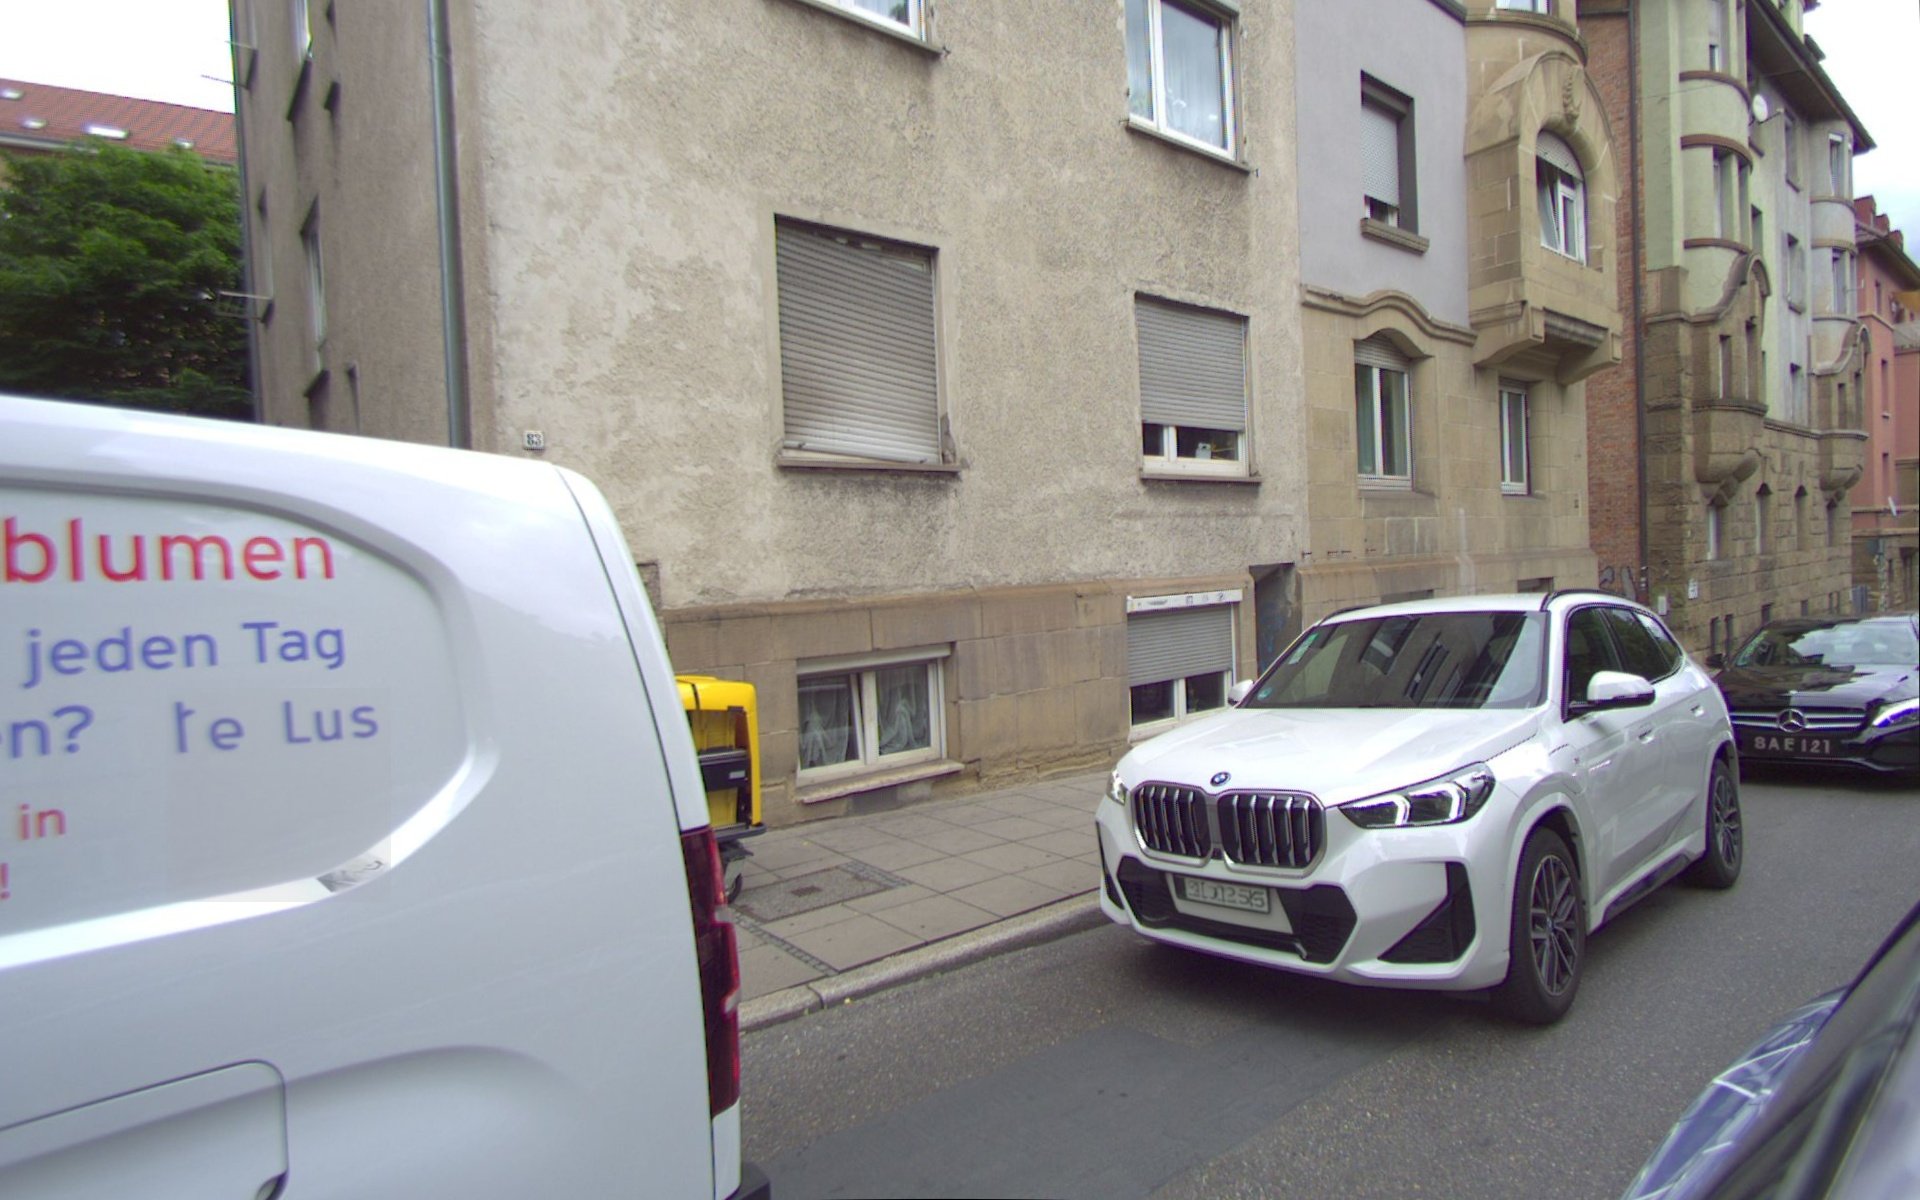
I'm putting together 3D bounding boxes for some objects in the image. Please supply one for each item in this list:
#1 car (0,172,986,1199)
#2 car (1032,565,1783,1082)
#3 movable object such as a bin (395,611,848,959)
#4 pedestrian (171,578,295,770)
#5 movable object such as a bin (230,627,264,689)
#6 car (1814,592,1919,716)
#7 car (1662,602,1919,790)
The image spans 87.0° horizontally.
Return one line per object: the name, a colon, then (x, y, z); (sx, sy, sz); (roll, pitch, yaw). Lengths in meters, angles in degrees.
car: (-2.325, 0.560, 0.913); (4.597, 1.798, 1.977); (-1, -3, -42)
car: (2.568, 0.722, 5.240); (4.276, 1.576, 1.857); (-1, -4, -42)
movable object such as a bin: (-1.758, 0.795, 5.396); (1.979, 1.391, 1.223); (-1, 2, -43)
pedestrian: (-6.929, 0.654, 9.649); (0.771, 1.666, 0.810); (-7, 5, -39)
movable object such as a bin: (-10.988, 0.886, 15.590); (0.405, 0.923, 0.340); (0, 0, -40)
car: (13.521, 0.646, 13.898); (4.226, 1.534, 1.935); (-1, -3, -40)
car: (8.410, 0.763, 9.570); (4.133, 1.395, 1.882); (-1, -3, -41)
